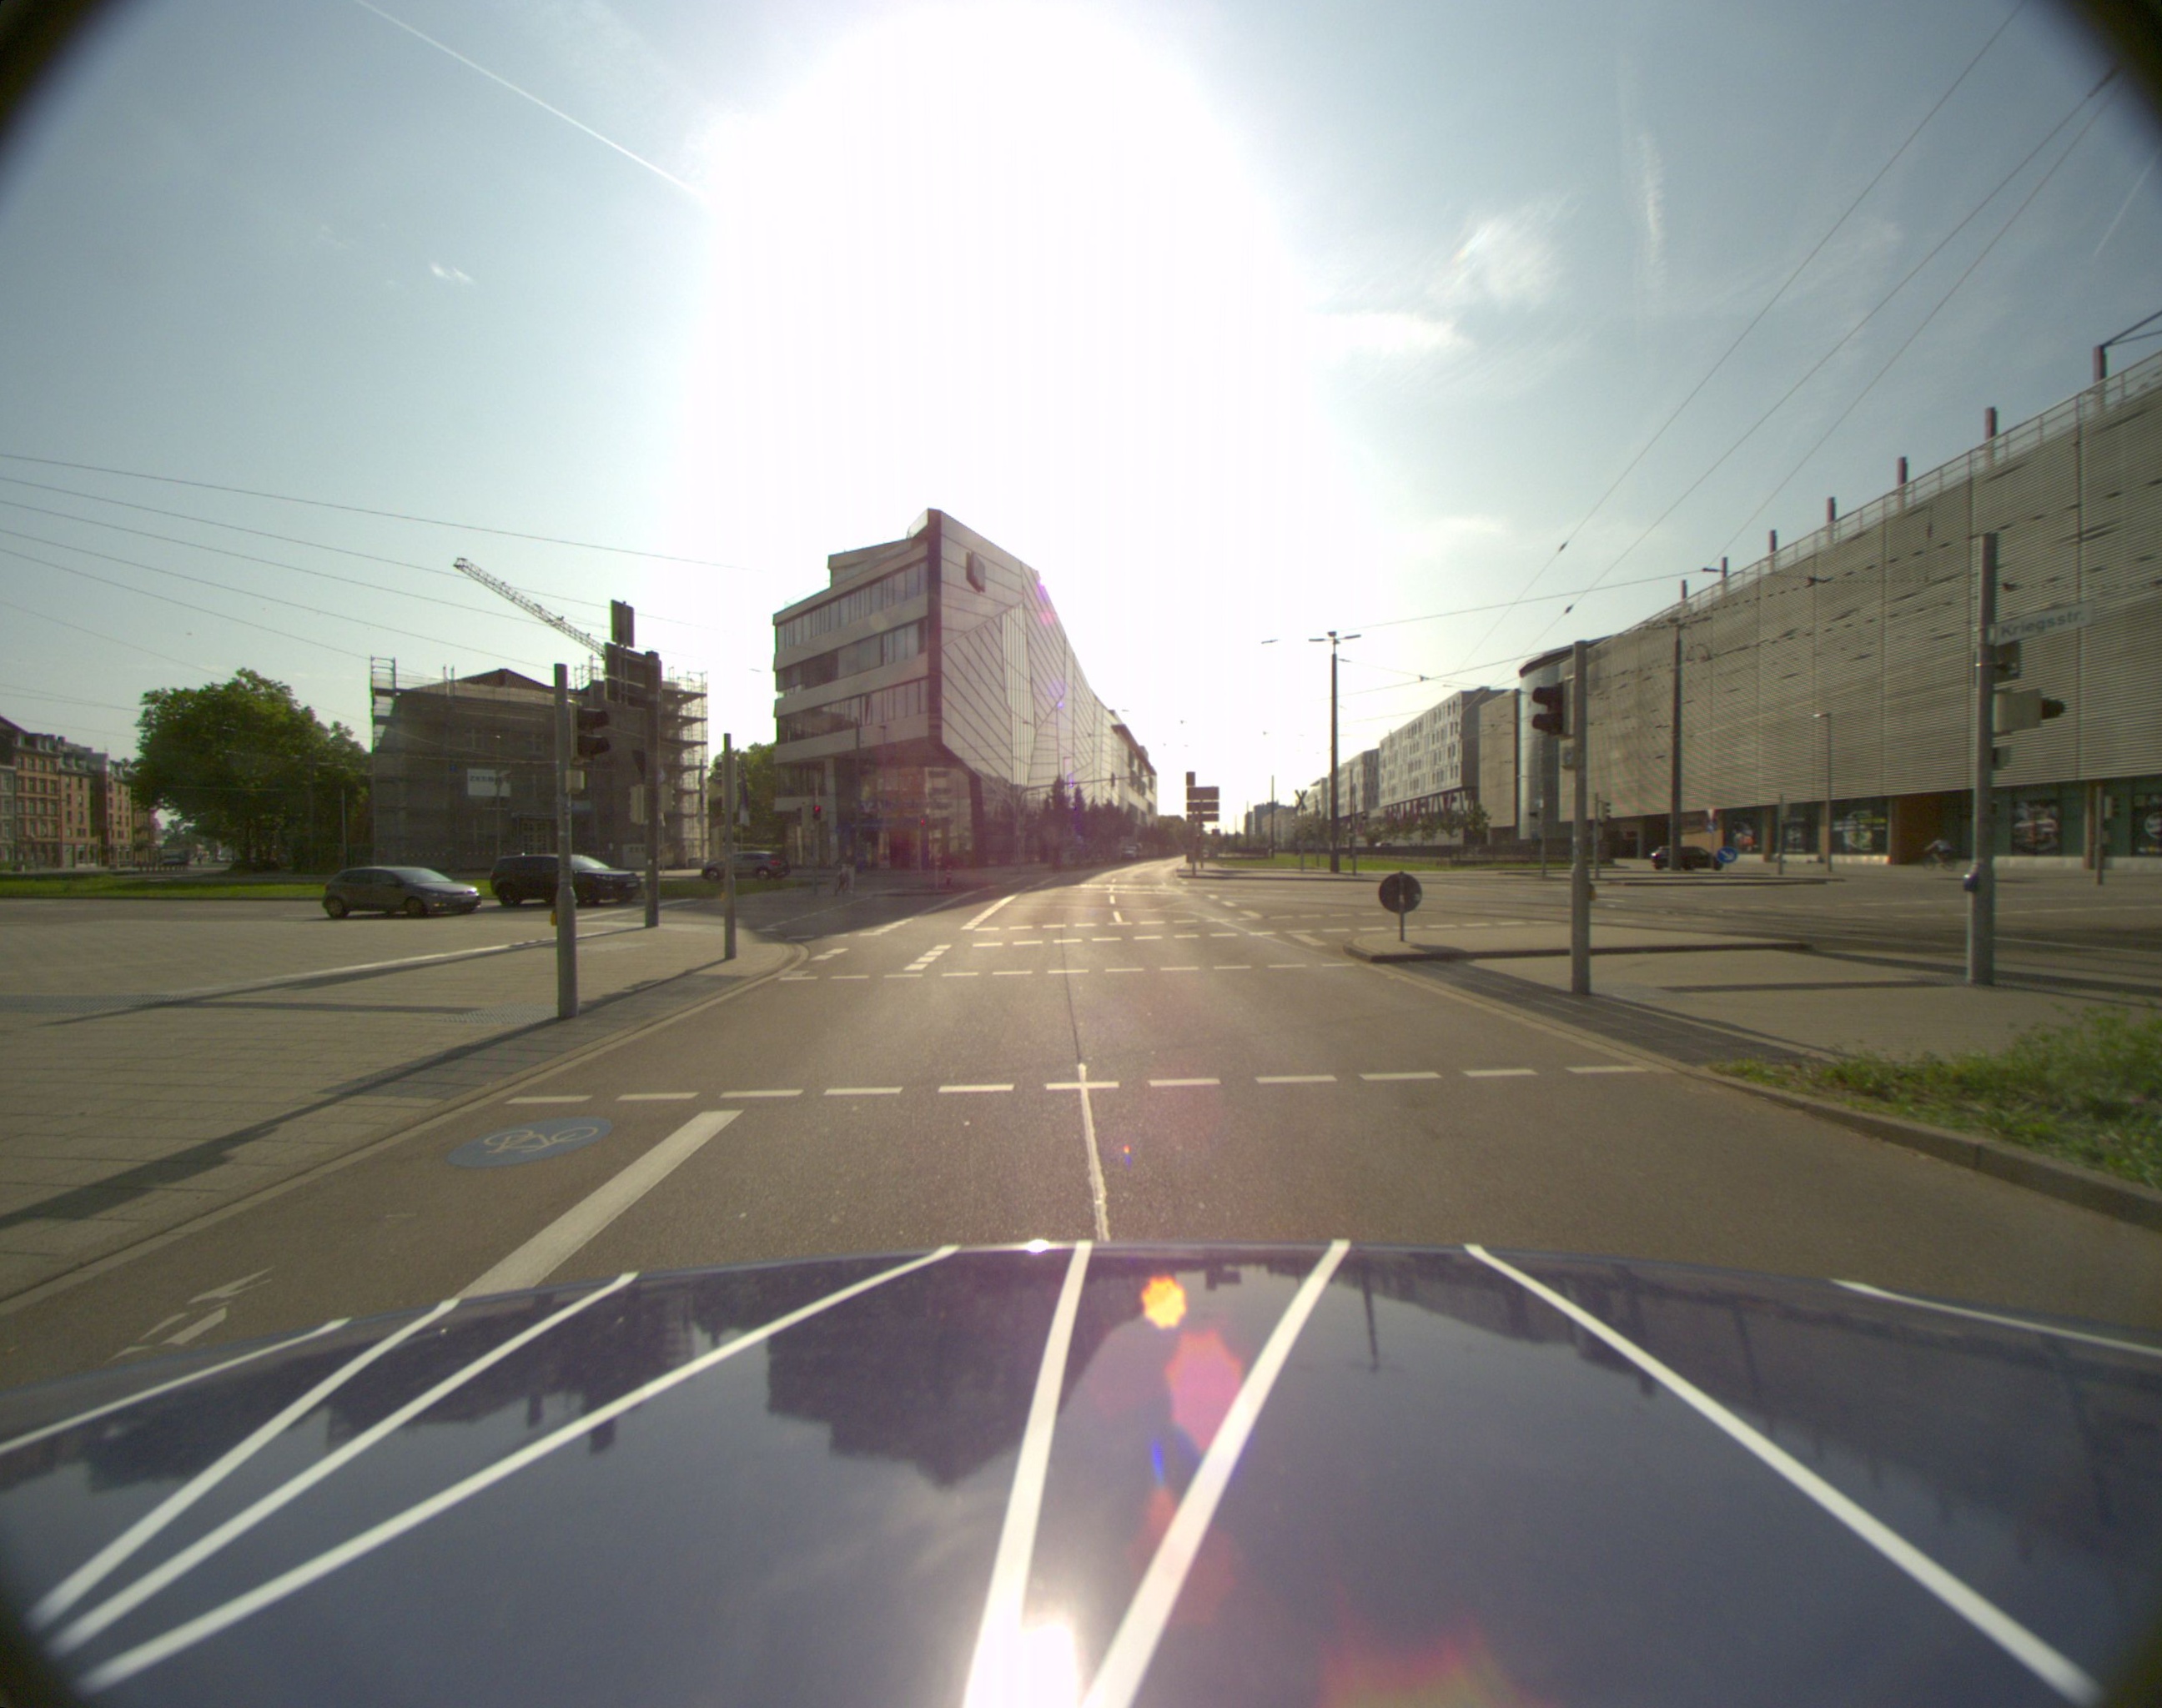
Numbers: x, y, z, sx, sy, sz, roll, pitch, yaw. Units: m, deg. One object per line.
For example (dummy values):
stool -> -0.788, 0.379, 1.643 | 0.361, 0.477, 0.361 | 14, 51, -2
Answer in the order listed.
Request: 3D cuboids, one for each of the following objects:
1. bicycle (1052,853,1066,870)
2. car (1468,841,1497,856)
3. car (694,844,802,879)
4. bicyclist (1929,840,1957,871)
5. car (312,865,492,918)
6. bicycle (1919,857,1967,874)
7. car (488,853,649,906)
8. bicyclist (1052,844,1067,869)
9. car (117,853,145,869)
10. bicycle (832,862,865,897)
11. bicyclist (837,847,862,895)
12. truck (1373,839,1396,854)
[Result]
bicycle -> -1.422, 0.480, 49.731 | 0.418, 1.050, 1.961 | 1, 2, 15
car -> 43.591, -0.648, 82.599 | 1.741, 1.551, 3.403 | 0, 2, 8
car -> -17.402, 0.373, 39.853 | 4.810, 1.773, 1.955 | 0, 2, 2
bicyclist -> 44.830, 0.075, 39.535 | 0.568, 1.621, 0.714 | 0, 3, 7
car -> -19.494, 1.047, 21.902 | 3.890, 1.411, 1.645 | 0, 1, 5
bicycle -> 44.846, 0.575, 39.564 | 0.581, 0.775, 1.869 | 0, 2, 9
car -> -16.764, 0.819, 24.976 | 4.215, 1.668, 1.804 | 0, 0, 7
bicyclist -> -1.401, 0.165, 49.698 | 0.782, 1.578, 0.933 | 1, 3, 15
car -> -127.778, 0.932, 102.185 | 3.987, 1.968, 2.004 | 2, 3, 43
bicycle -> -8.267, 0.886, 27.067 | 0.669, 1.092, 1.803 | 0, 2, -2
bicyclist -> -8.273, 0.599, 27.150 | 0.669, 1.693, 0.636 | 0, 3, -2
truck -> 48.668, -1.159, 121.845 | 2.205, 2.308, 4.552 | -1, 1, 4
